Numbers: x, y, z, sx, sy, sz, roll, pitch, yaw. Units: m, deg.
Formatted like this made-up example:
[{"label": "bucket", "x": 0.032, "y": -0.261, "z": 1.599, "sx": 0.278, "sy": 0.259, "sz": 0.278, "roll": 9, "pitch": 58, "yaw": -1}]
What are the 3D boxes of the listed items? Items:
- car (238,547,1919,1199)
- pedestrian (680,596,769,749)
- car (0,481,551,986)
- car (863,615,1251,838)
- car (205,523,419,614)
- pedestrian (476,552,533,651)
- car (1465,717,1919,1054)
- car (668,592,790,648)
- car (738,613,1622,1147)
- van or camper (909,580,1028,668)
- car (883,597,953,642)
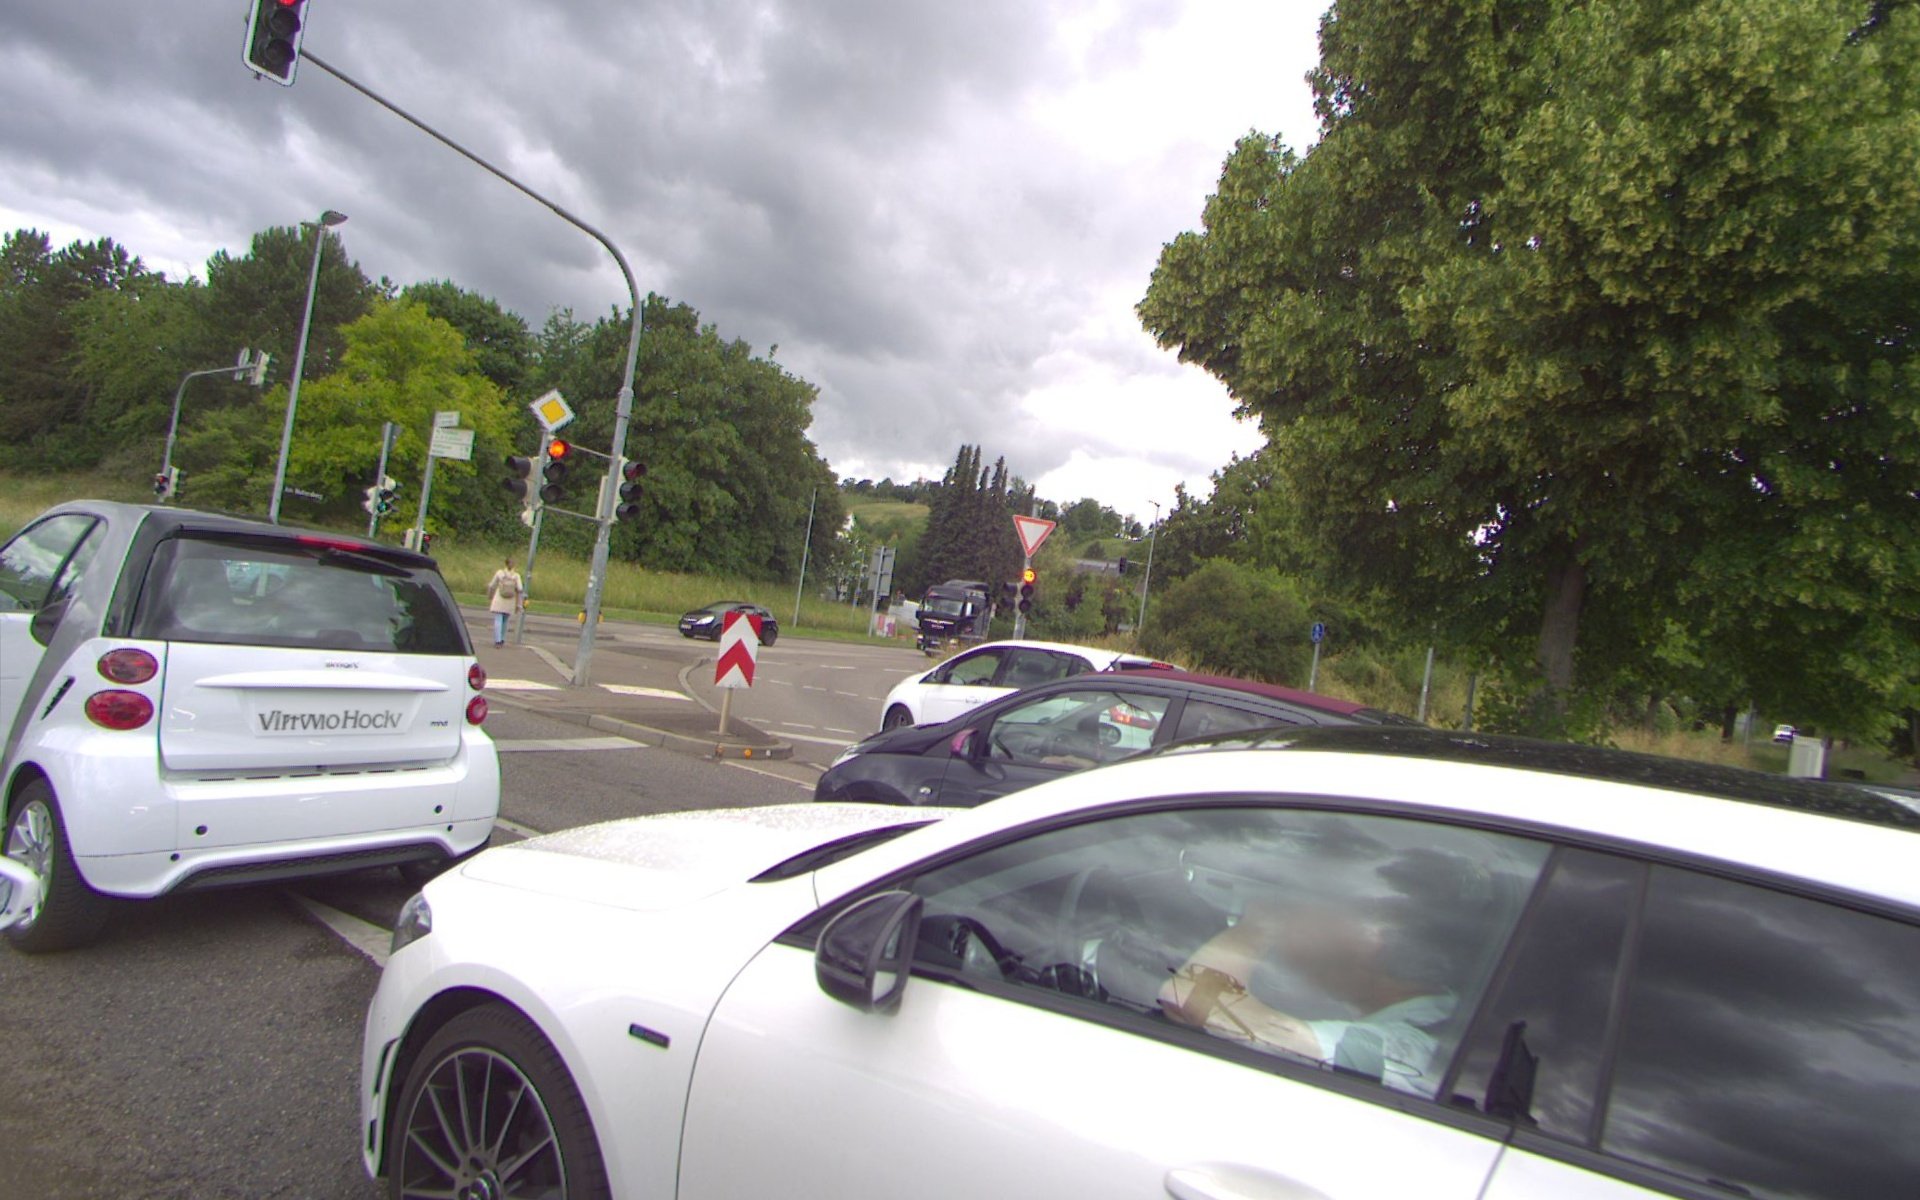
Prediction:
[{"label": "car", "x": 0.657, "y": 0.903, "z": 1.930, "sx": 4.284, "sy": 1.438, "sz": 1.724, "roll": 7, "pitch": -1, "yaw": 32}, {"label": "pedestrian", "x": -2.375, "y": 0.743, "z": 10.161, "sx": 0.349, "sy": 1.470, "sz": 0.611, "roll": 7, "pitch": -1, "yaw": 40}, {"label": "car", "x": -3.391, "y": 0.371, "z": 4.455, "sx": 2.626, "sy": 1.522, "sz": 1.538, "roll": 7, "pitch": -1, "yaw": 32}, {"label": "car", "x": 0.866, "y": 1.276, "z": 11.189, "sx": 1.696, "sy": 1.656, "sz": 4.199, "roll": 11, "pitch": -3, "yaw": -38}, {"label": "car", "x": -16.033, "y": -0.731, "z": 25.076, "sx": 1.809, "sy": 1.620, "sz": 3.992, "roll": 7, "pitch": -2, "yaw": 34}, {"label": "pedestrian", "x": -8.066, "y": 0.022, "z": 17.820, "sx": 0.608, "sy": 1.653, "sz": 0.608, "roll": 8, "pitch": -1, "yaw": -38}, {"label": "car", "x": 5.427, "y": 1.821, "z": 6.355, "sx": 3.591, "sy": 1.451, "sz": 1.515, "roll": 7, "pitch": -5, "yaw": 42}, {"label": "car", "x": -8.237, "y": 0.758, "z": 36.125, "sx": 1.662, "sy": 1.465, "sz": 3.988, "roll": 7, "pitch": -2, "yaw": 38}, {"label": "car", "x": 0.923, "y": 1.055, "z": 5.175, "sx": 3.933, "sy": 1.420, "sz": 1.548, "roll": 7, "pitch": -1, "yaw": 31}, {"label": "van or camper", "x": 0.588, "y": 1.296, "z": 50.431, "sx": 2.704, "sy": 3.621, "sz": 7.271, "roll": 6, "pitch": -2, "yaw": 27}, {"label": "car", "x": -3.372, "y": 1.514, "z": 79.940, "sx": 2.173, "sy": 2.570, "sz": 5.702, "roll": 9, "pitch": 1, "yaw": -41}]
